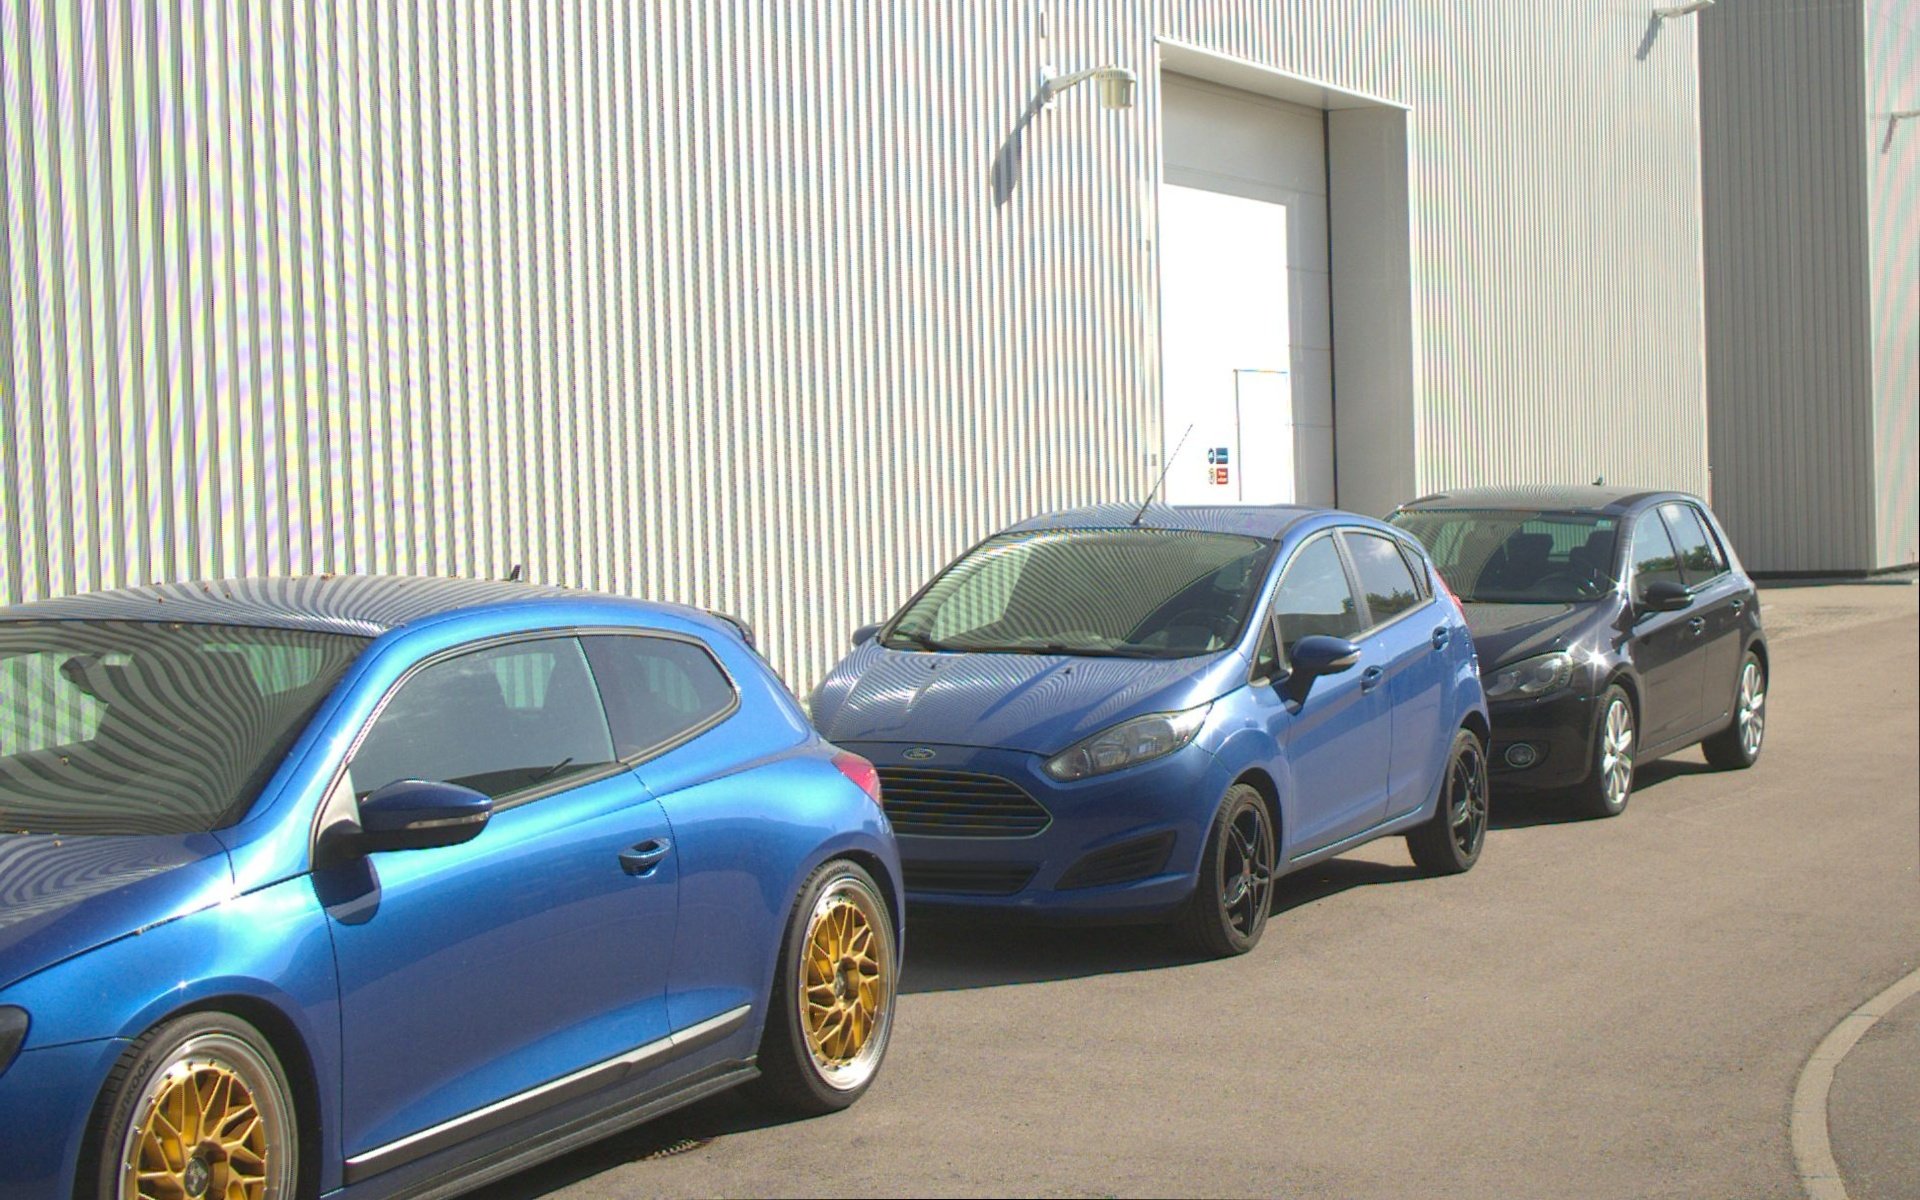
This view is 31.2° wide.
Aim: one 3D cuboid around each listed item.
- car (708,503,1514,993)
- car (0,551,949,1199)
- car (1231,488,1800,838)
[{"bbox_3d":[0.714,0.398,12.546,1.621,1.442,3.760,0,3,25],"label":"car"},{"bbox_3d":[-1.632,0.629,7.543,1.671,1.345,3.949,1,3,25],"label":"car"},{"bbox_3d":[2.847,0.204,16.950,1.653,1.441,3.873,3,3,26],"label":"car"}]
